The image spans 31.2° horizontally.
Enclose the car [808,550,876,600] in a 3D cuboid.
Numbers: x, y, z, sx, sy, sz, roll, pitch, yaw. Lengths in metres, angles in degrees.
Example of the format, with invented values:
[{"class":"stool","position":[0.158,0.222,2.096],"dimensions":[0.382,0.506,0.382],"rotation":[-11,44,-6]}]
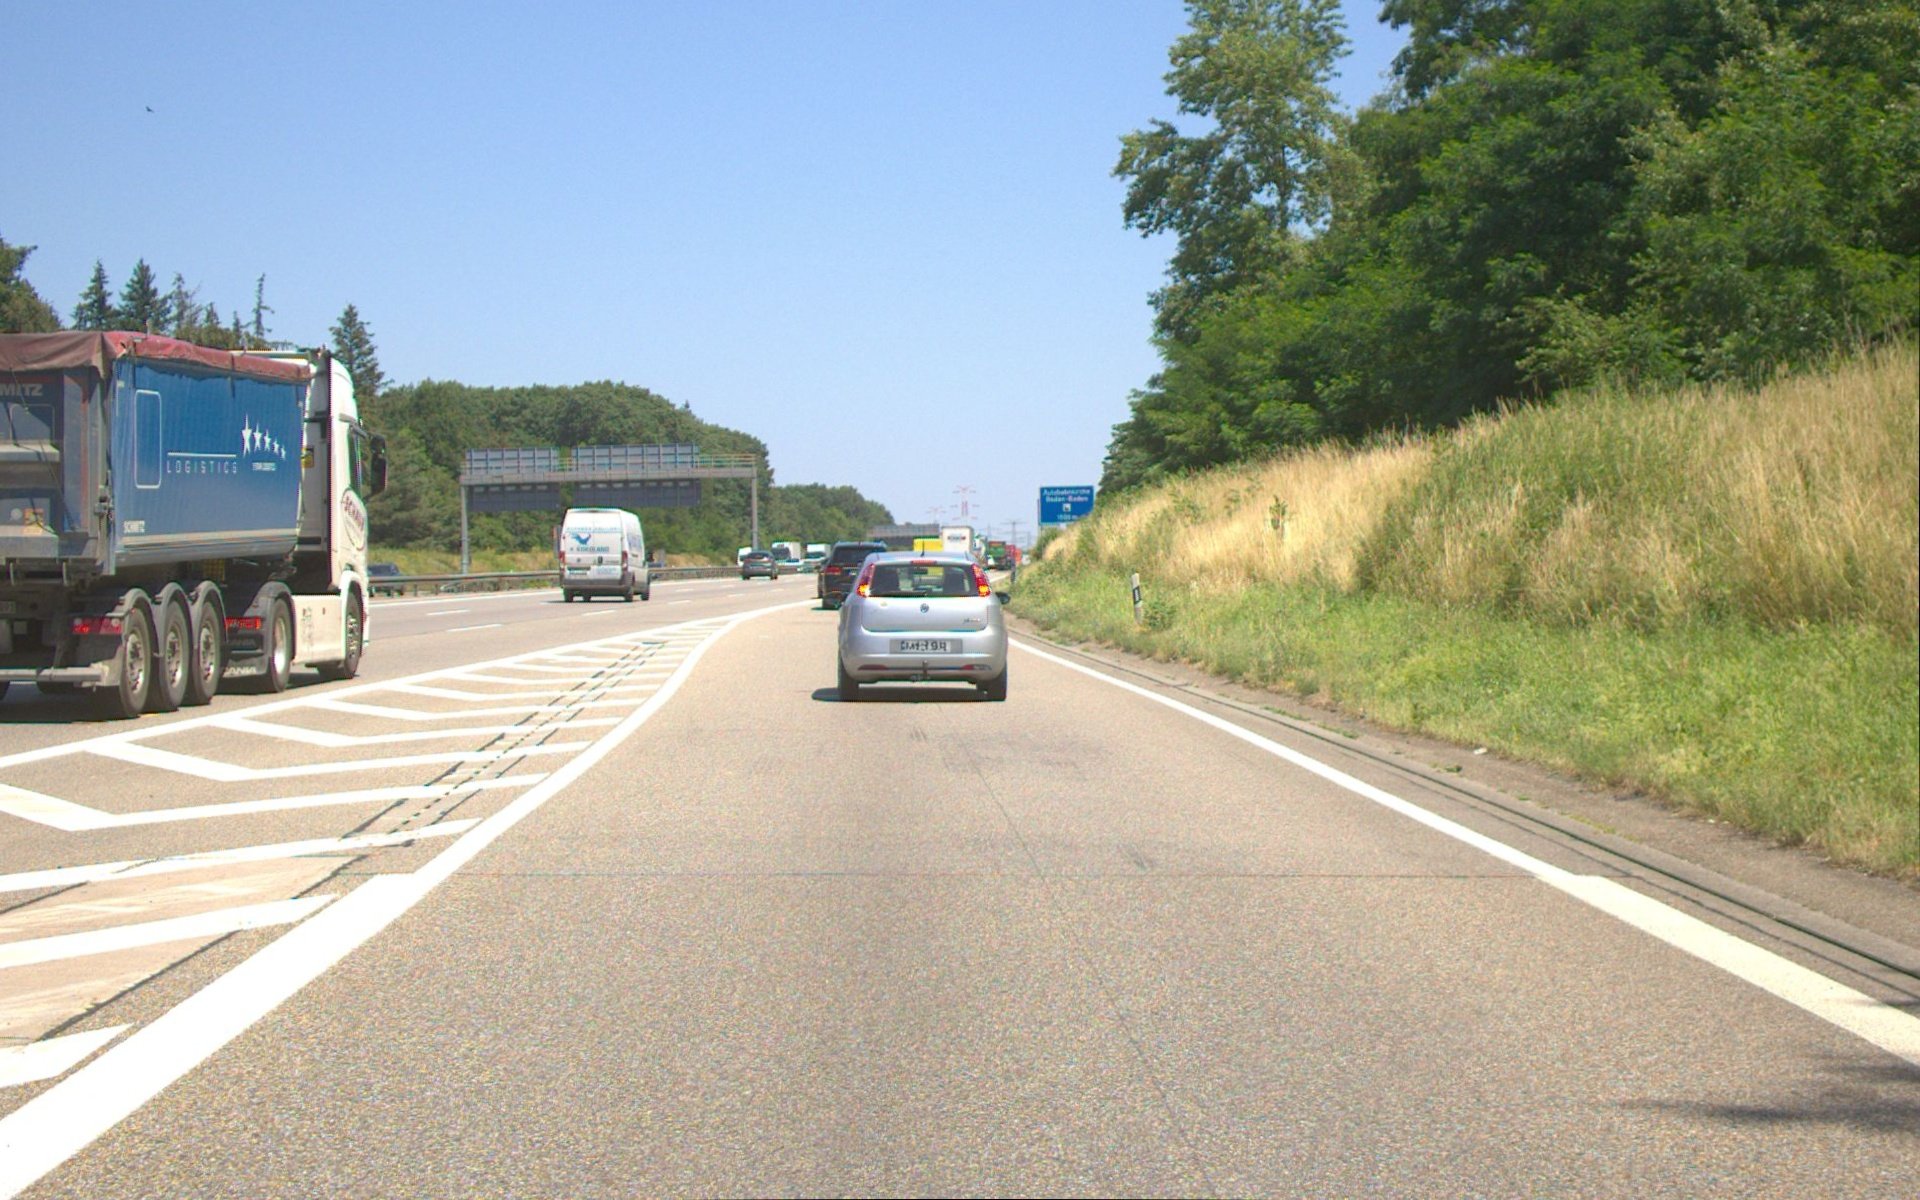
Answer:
[{"class":"car","position":[-3.640,-0.789,106.471],"dimensions":[1.894,1.464,4.261],"rotation":[1,1,1]}]

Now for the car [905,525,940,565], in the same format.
[{"class":"car","position":[-1.938,-2.859,178.316],"dimensions":[1.611,2.007,4.000],"rotation":[1,1,1]}]

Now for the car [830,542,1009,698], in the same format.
[{"class":"car","position":[-0.404,0.163,35.117],"dimensions":[1.719,1.486,3.737],"rotation":[0,1,0]}]

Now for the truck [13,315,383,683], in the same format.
[{"class":"truck","position":[-8.298,-1.089,38.157],"dimensions":[2.684,3.746,5.944],"rotation":[0,1,1]}]

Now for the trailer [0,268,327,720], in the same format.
[{"class":"trailer","position":[-8.375,-0.959,33.124],"dimensions":[2.737,3.746,9.109],"rotation":[0,1,1]}]

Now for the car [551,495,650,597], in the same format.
[{"class":"car","position":[-10.797,-1.624,103.699],"dimensions":[2.260,2.940,6.114],"rotation":[1,1,1]}]

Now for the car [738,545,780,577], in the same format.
[{"class":"car","position":[-11.637,-2.292,199.092],"dimensions":[2.157,1.808,4.860],"rotation":[0,1,0]}]

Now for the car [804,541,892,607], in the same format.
[{"class":"car","position":[-2.883,-0.672,89.357],"dimensions":[1.832,1.666,3.999],"rotation":[1,0,5]}]
